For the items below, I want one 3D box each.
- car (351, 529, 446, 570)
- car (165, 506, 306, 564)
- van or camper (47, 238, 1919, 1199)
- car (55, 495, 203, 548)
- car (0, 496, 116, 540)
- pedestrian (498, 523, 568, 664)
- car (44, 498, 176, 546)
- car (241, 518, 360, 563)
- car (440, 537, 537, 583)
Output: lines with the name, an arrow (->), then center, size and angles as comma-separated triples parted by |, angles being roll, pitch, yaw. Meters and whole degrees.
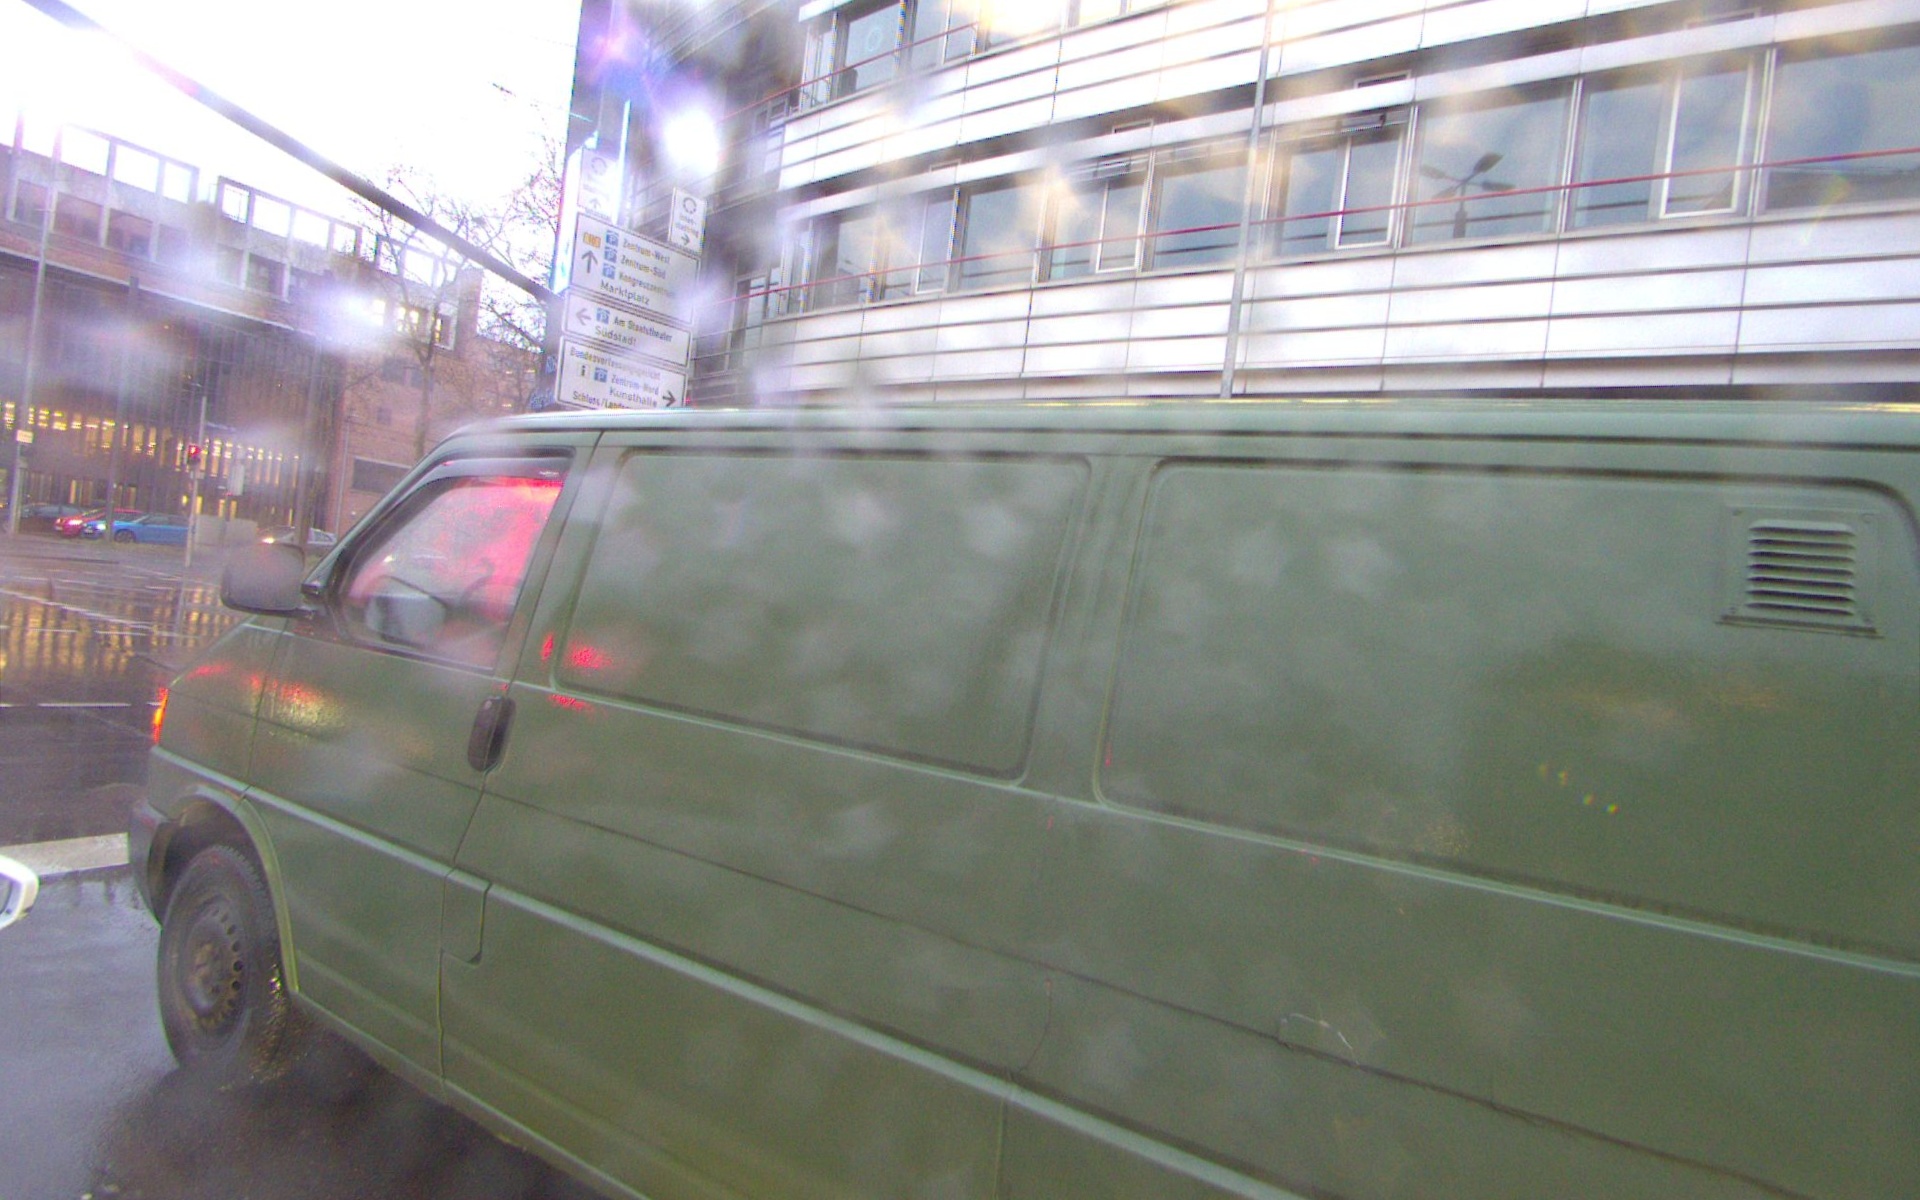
car -> -30.161, -2.688, 54.126 | 1.814, 1.523, 3.997 | 11, 1, 26
car -> -28.297, -2.503, 39.436 | 1.814, 1.523, 3.997 | 11, 1, 26
van or camper -> -0.326, 0.533, 2.619 | 4.345, 1.929, 1.760 | 7, -1, 32
car -> -32.433, -3.026, 39.378 | 1.814, 1.278, 3.997 | 11, 1, 26
car -> -39.203, -3.555, 43.204 | 1.965, 1.326, 3.994 | 7, 0, 28
pedestrian -> -6.998, -0.099, 16.500 | 0.609, 2.210, 0.576 | 6, 0, 26
car -> -35.476, -3.241, 42.096 | 1.814, 1.278, 3.729 | 11, 1, 26
car -> -29.629, -2.651, 45.300 | 1.814, 1.304, 3.997 | 11, 1, 26
car -> -23.556, -1.972, 50.401 | 1.814, 1.621, 3.997 | 11, 1, 26
